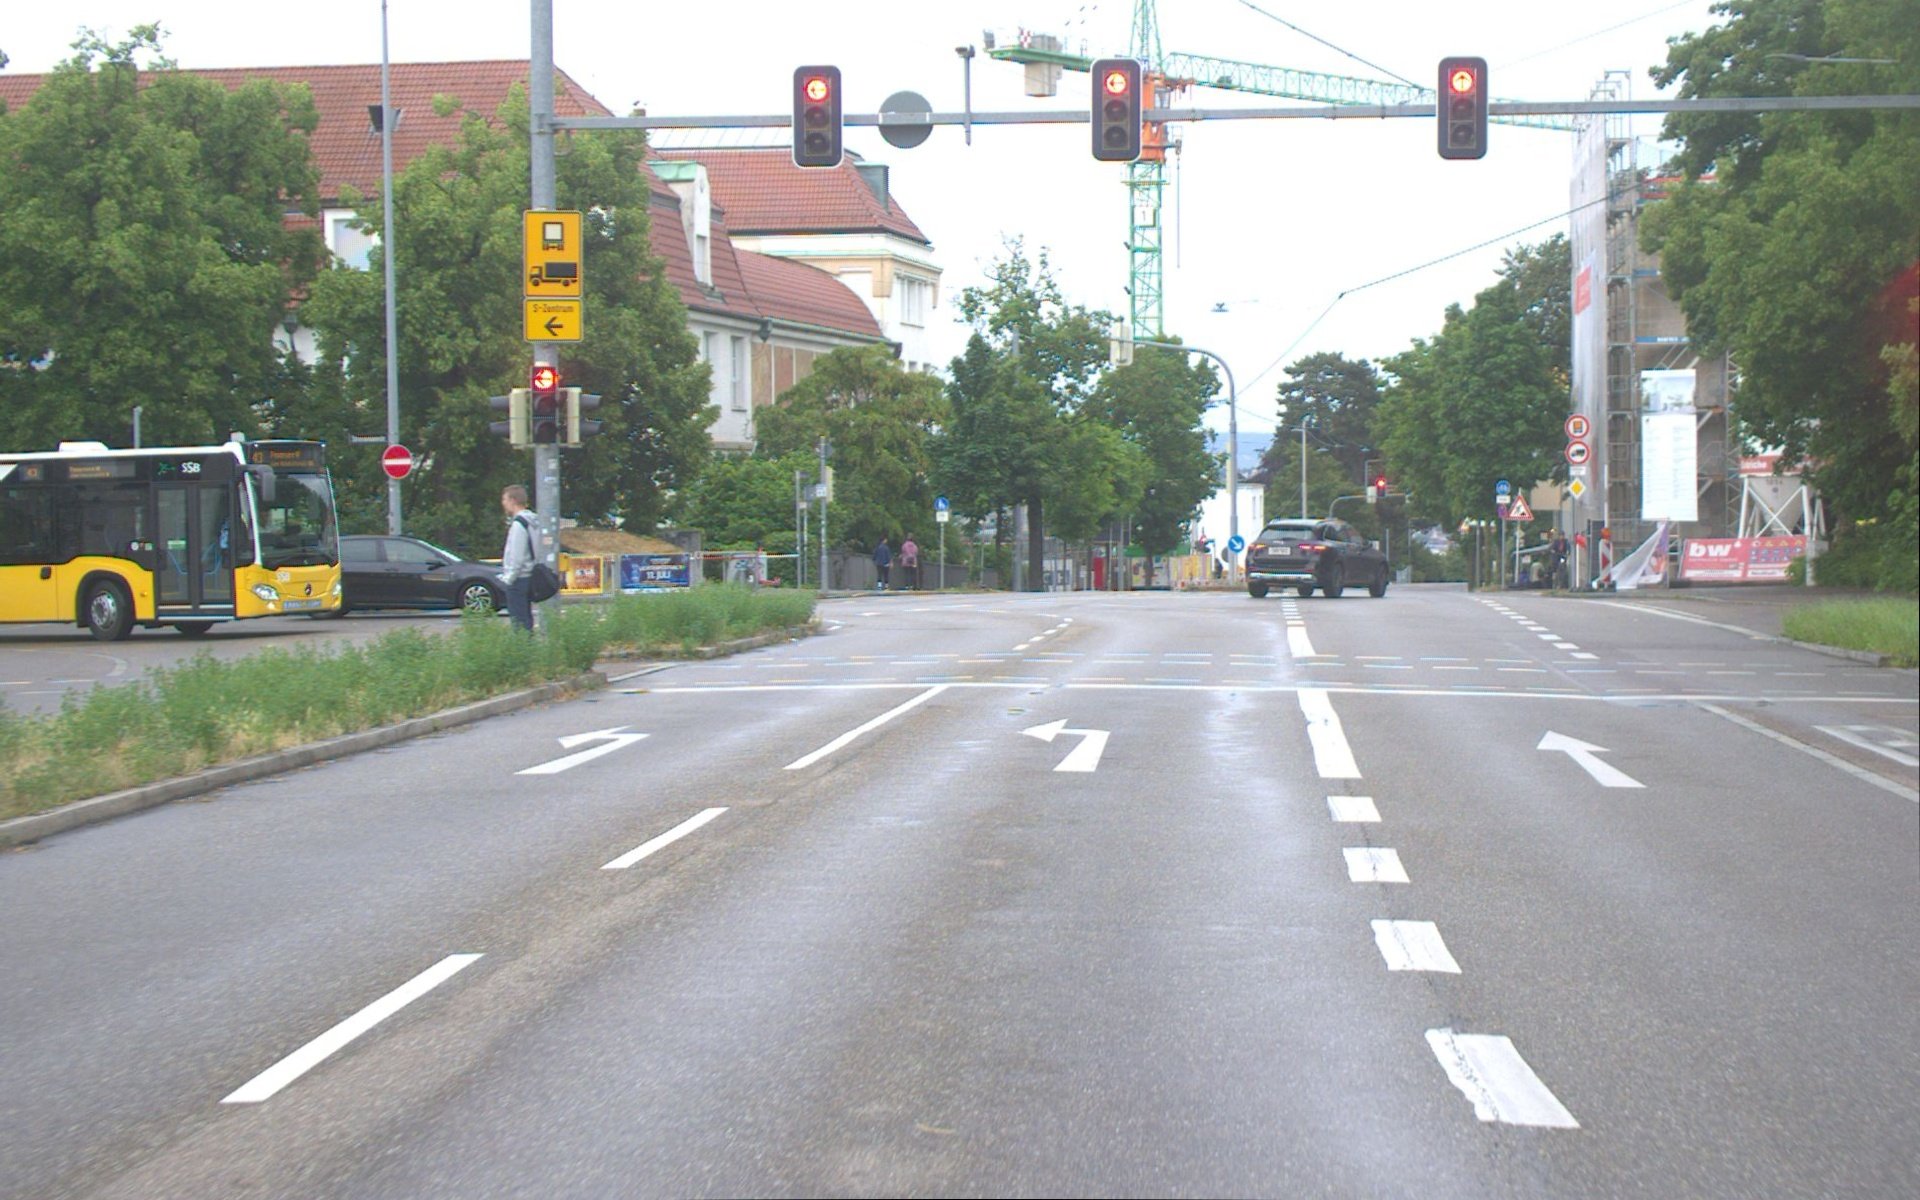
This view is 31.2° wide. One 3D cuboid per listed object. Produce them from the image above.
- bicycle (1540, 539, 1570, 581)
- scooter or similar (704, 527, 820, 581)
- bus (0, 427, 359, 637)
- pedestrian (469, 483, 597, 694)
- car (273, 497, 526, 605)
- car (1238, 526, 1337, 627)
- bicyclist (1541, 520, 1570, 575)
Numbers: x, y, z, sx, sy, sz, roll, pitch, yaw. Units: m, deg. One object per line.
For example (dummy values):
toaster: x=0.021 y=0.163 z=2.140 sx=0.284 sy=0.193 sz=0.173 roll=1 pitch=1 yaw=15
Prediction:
bicycle: x=17.292 y=-1.150 z=99.933 sx=0.720 sy=1.189 sz=1.755 roll=2 pitch=0 yaw=7
scooter or similar: x=-5.428 y=-1.271 z=94.336 sx=3.088 sy=1.435 sz=0.949 roll=-1 pitch=1 yaw=4
bus: x=-14.388 y=-1.034 z=53.734 sx=9.735 sy=3.092 sz=2.894 roll=0 pitch=1 yaw=22
pedestrian: x=-4.210 y=-0.121 z=33.928 sx=0.940 sy=2.007 sz=0.847 roll=-3 pitch=1 yaw=11
car: x=-9.550 y=-0.818 z=58.817 sx=3.987 sy=1.700 sz=2.000 roll=2 pitch=0 yaw=-1
car: x=6.855 y=-0.460 z=72.187 sx=1.944 sy=2.014 sz=4.550 roll=2 pitch=0 yaw=5
bicyclist: x=17.295 y=-1.513 z=99.899 sx=0.720 sy=1.558 sz=1.142 roll=1 pitch=0 yaw=7
